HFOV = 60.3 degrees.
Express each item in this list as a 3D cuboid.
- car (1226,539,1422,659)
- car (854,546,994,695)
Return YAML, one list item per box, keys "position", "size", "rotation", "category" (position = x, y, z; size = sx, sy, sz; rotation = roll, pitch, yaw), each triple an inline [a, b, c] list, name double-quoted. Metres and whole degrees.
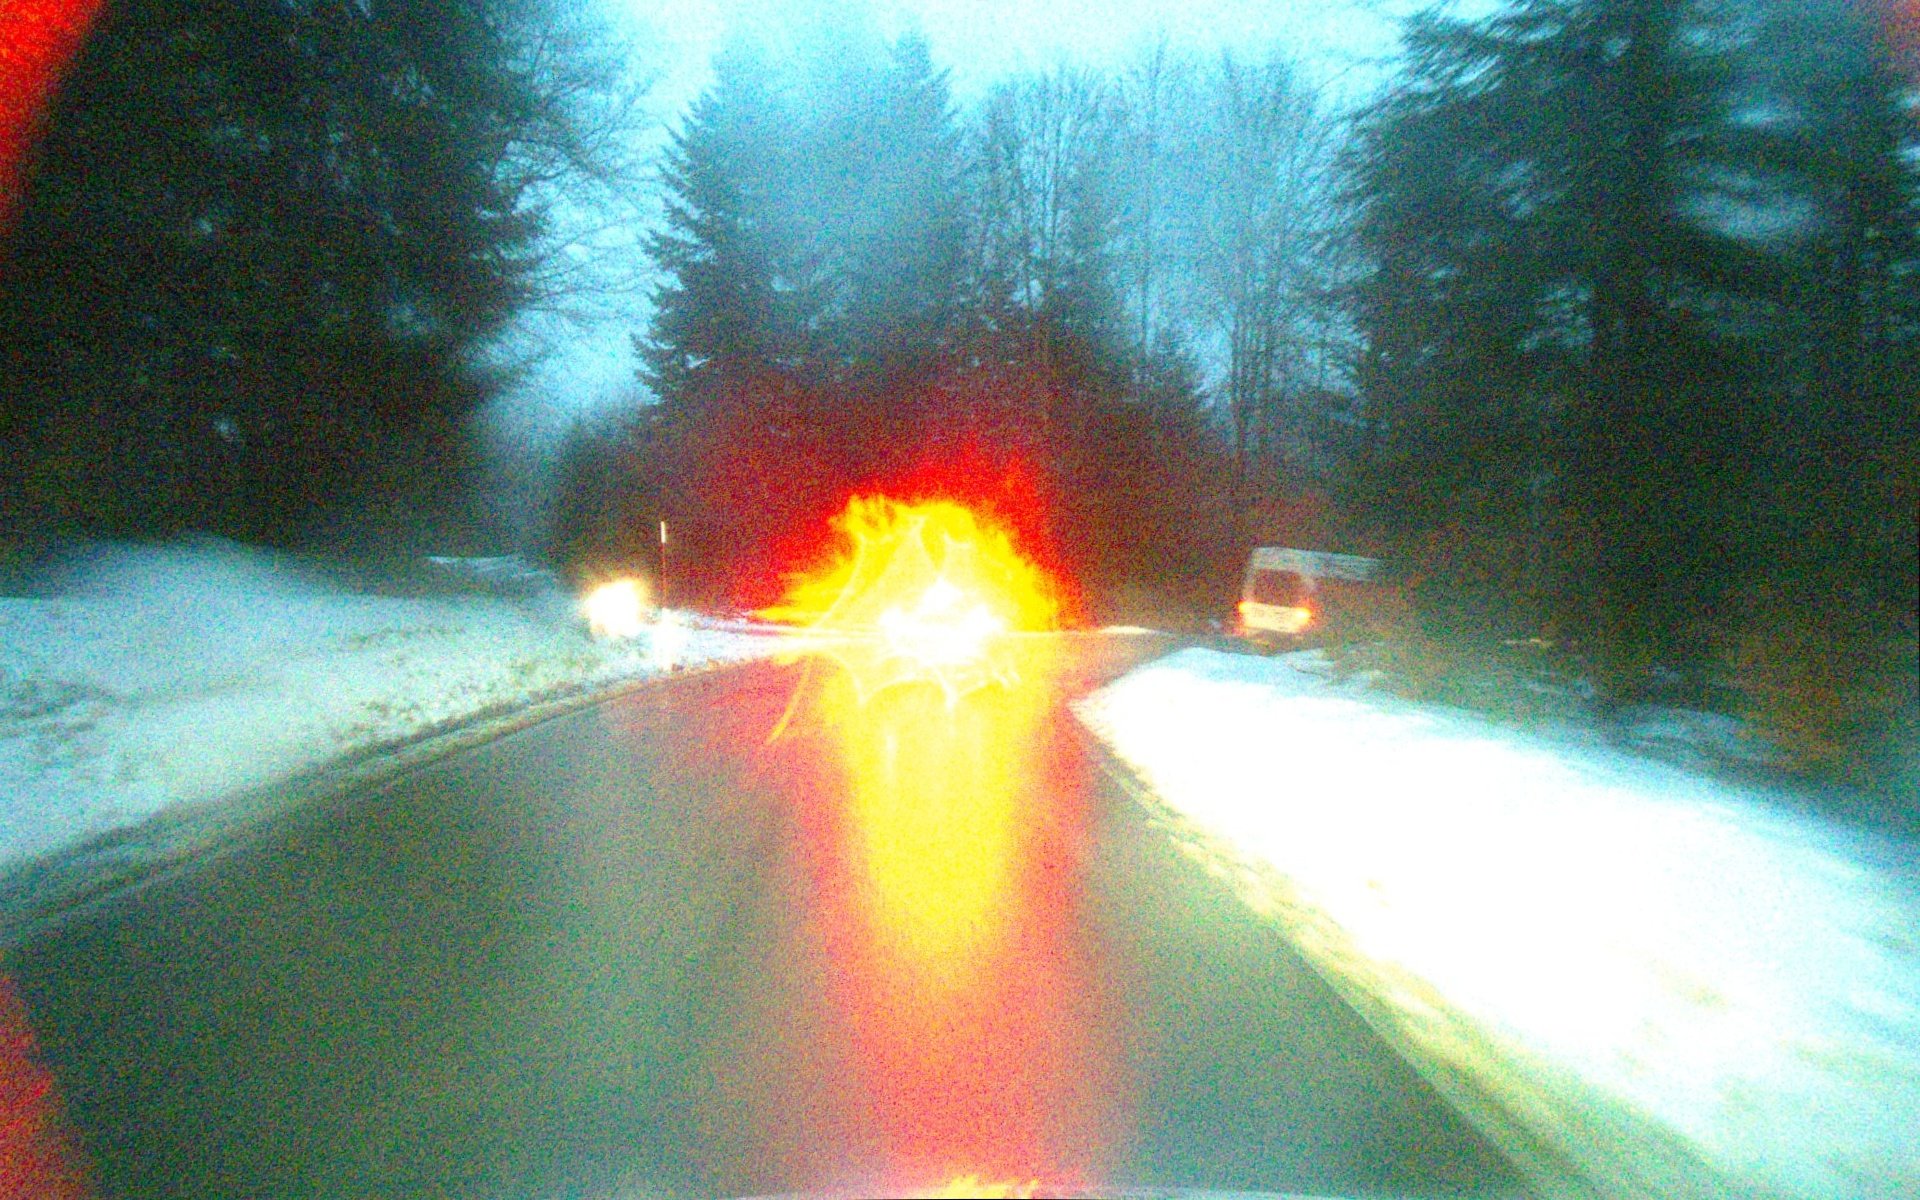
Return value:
- position: [9.145, -0.028, 41.367]
  size: [4.965, 2.690, 2.226]
  rotation: [1, 4, -43]
  category: "car"
- position: [-0.538, 0.292, 25.360]
  size: [1.953, 2.087, 3.999]
  rotation: [-1, 0, -1]
  category: "car"
